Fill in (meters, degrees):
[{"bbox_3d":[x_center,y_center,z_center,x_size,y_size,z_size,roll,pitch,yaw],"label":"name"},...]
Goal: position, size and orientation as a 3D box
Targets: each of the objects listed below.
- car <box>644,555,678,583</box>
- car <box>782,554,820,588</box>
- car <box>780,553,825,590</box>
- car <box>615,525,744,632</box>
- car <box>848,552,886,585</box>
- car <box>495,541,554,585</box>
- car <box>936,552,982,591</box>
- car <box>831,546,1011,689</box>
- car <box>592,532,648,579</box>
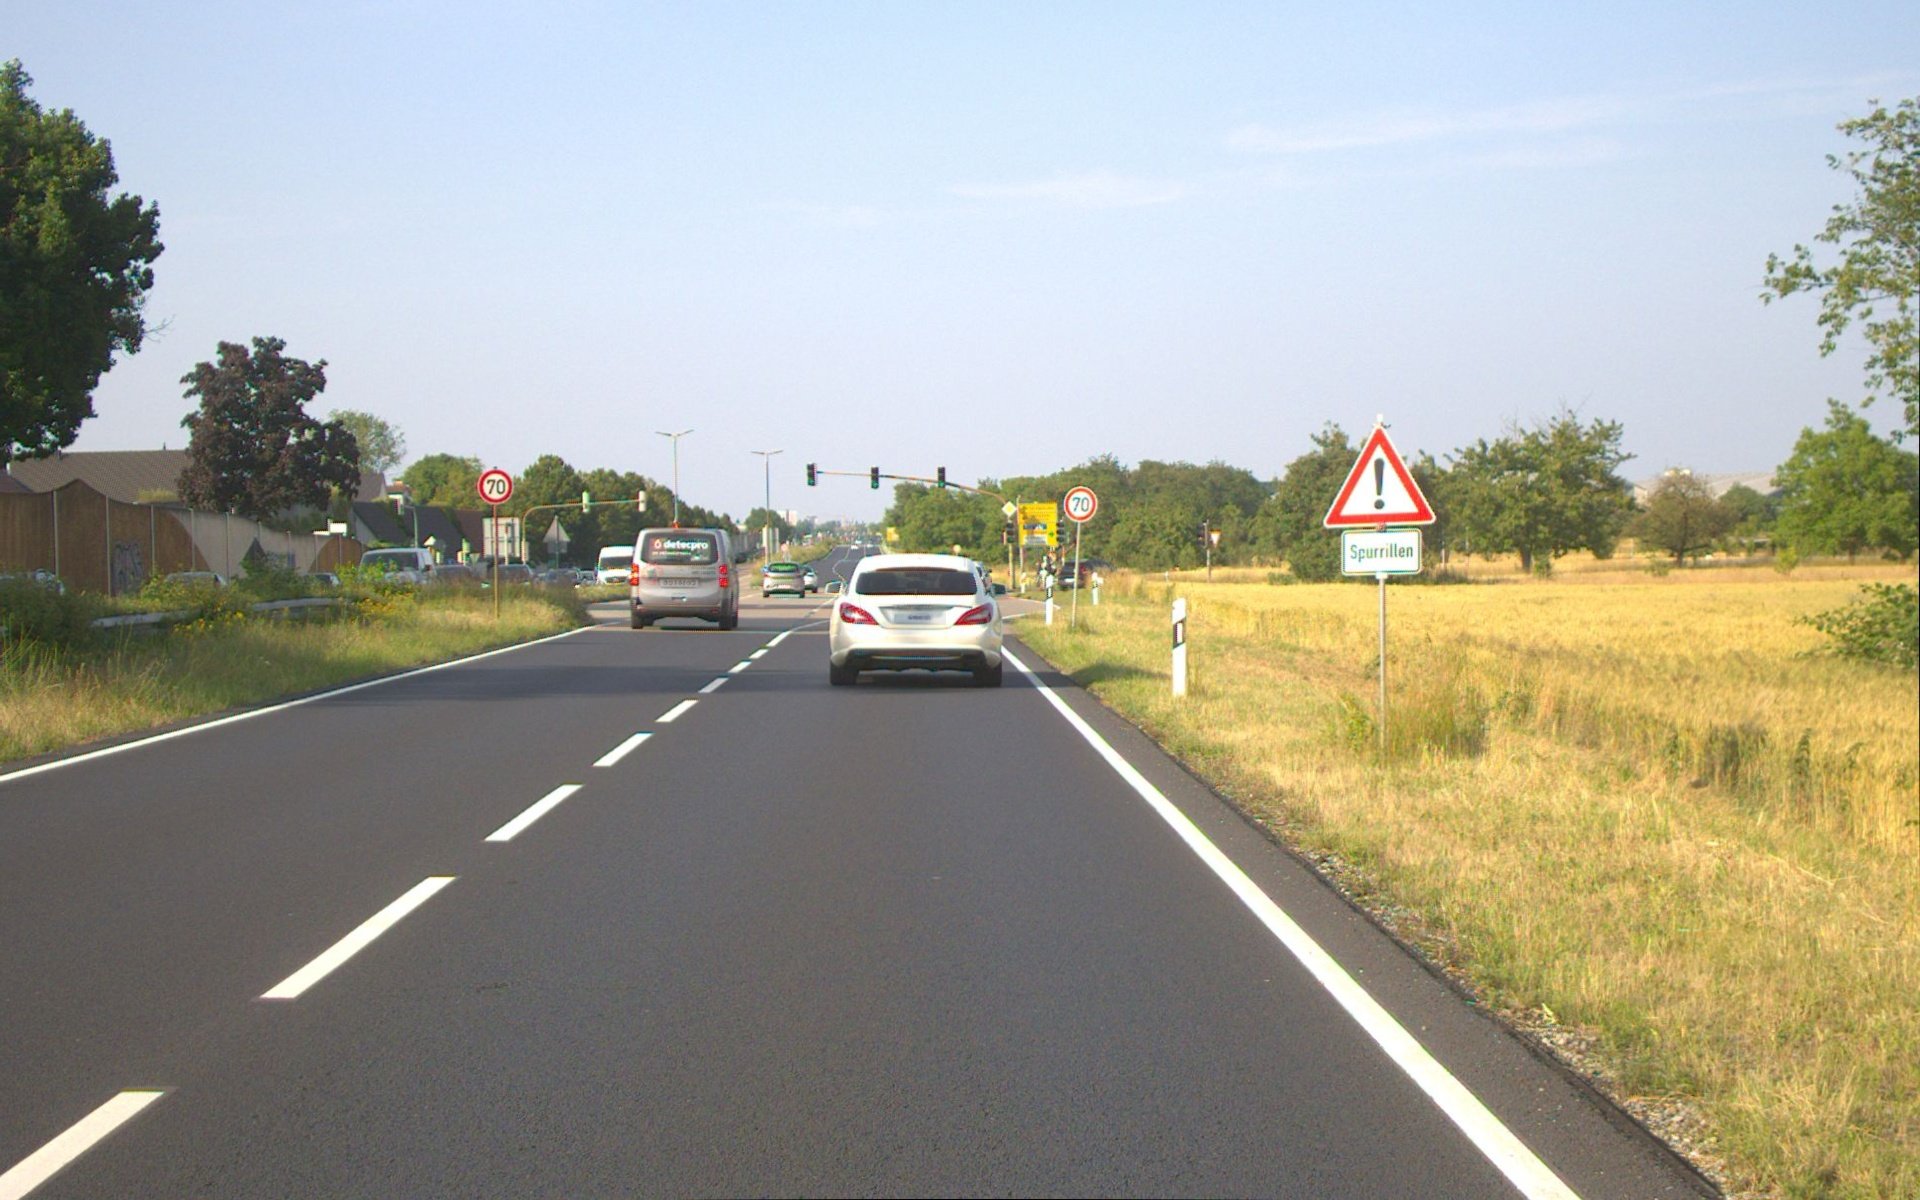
[{"bbox_3d":[-18.107,-1.880,208.199,1.731,1.619,4.923,1,1,-2],"label":"car"},{"bbox_3d":[-8.152,-1.486,175.992,1.775,1.660,3.664,1,1,-5],"label":"car"},{"bbox_3d":[-6.459,-1.169,140.892,1.717,1.487,3.585,1,1,-1],"label":"car"},{"bbox_3d":[-5.191,-0.439,64.264,2.025,1.885,4.959,1,1,-1],"label":"car"},{"bbox_3d":[-4.954,-1.690,183.747,1.839,1.678,4.000,1,1,1],"label":"car"},{"bbox_3d":[-15.126,-1.289,119.565,1.514,1.460,4.659,1,1,-1],"label":"car"},{"bbox_3d":[-0.064,-1.134,135.922,1.754,1.511,4.000,-1,1,-1],"label":"car"},{"bbox_3d":[-0.466,0.160,38.238,1.894,1.503,4.000,0,1,-2],"label":"car"},{"bbox_3d":[-17.352,-2.265,175.864,2.348,2.295,7.192,1,1,-2],"label":"car"}]
